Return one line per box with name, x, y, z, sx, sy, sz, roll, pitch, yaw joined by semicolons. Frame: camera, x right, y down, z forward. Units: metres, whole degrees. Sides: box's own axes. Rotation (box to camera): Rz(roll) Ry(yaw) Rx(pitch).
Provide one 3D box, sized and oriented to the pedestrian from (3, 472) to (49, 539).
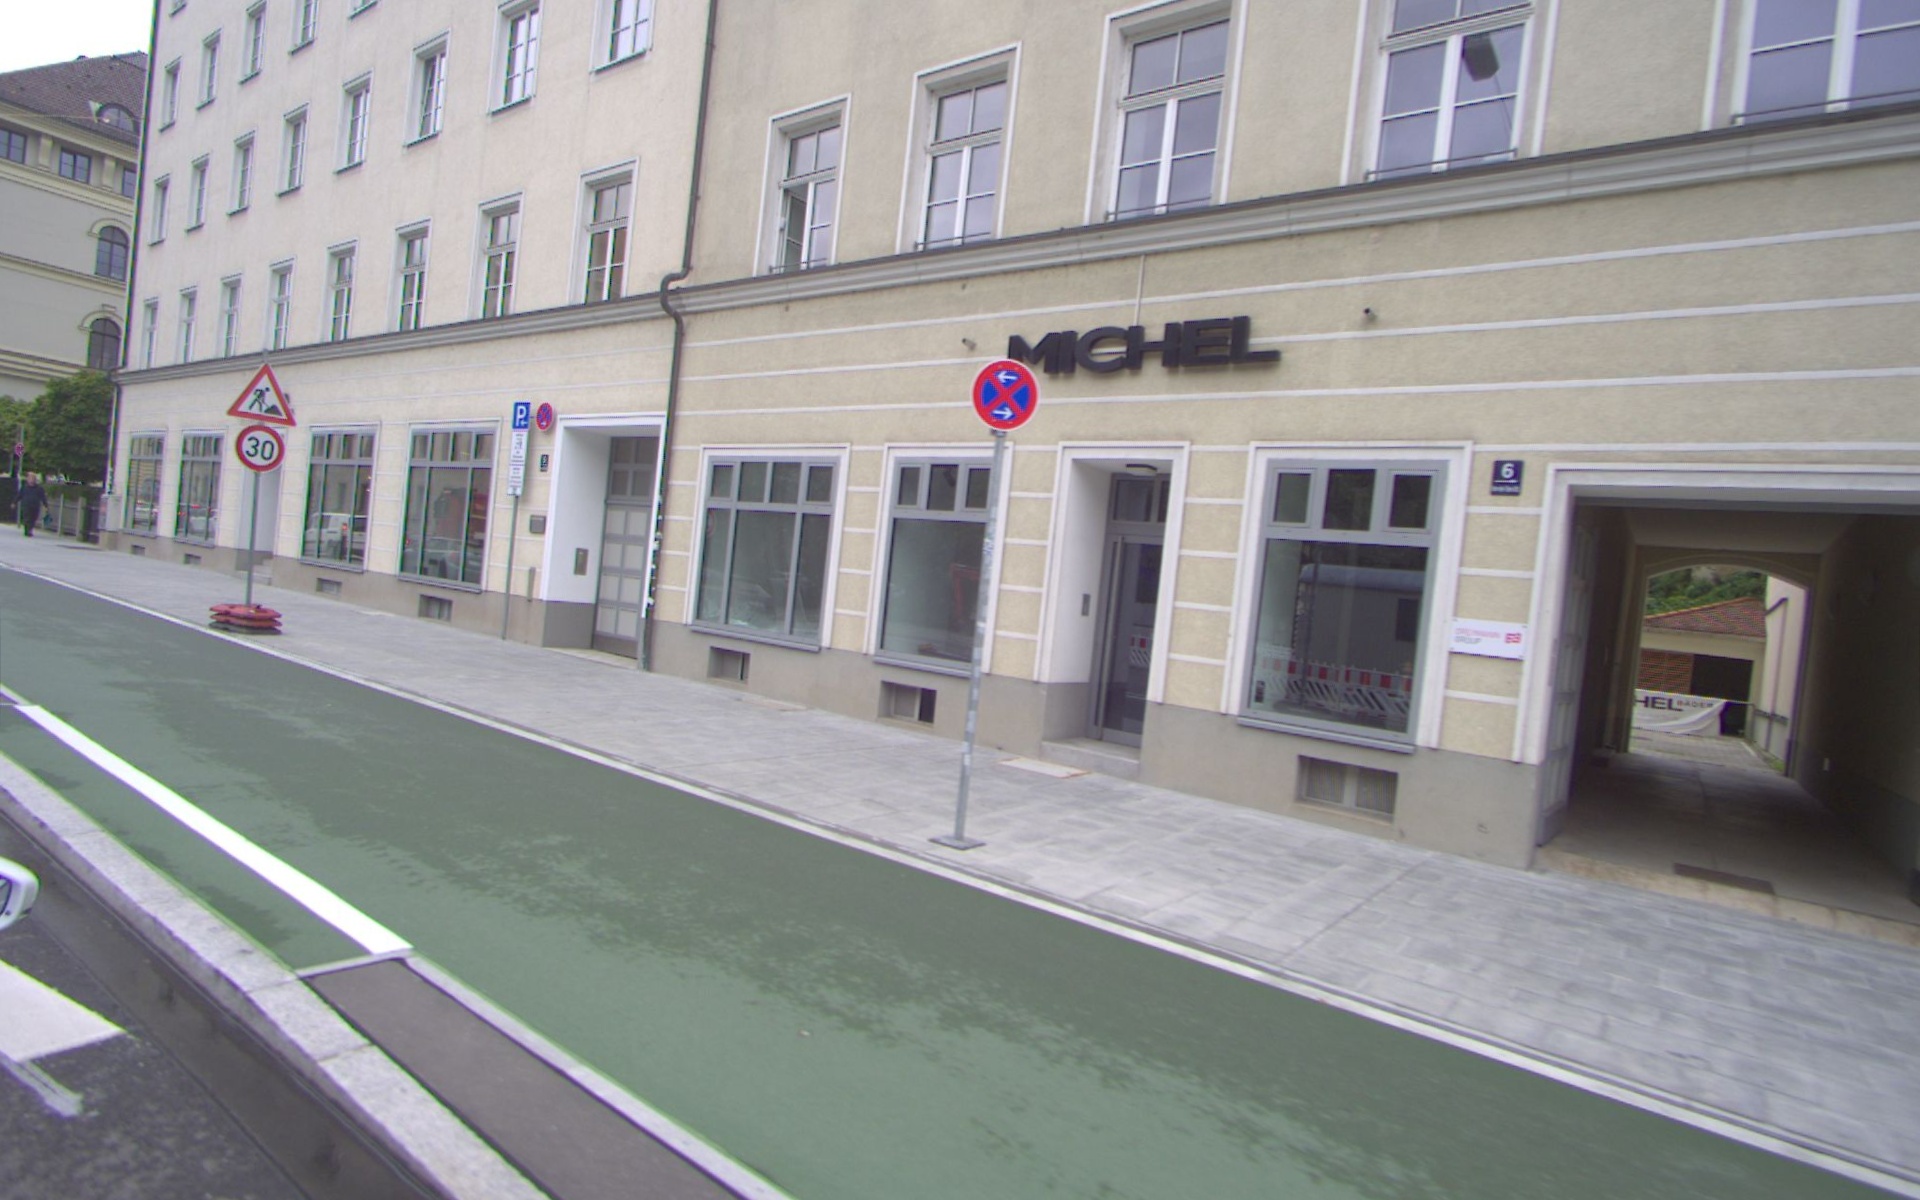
pedestrian;-27.793;-2.818;29.947;0.765;1.860;0.789;8;2;38
